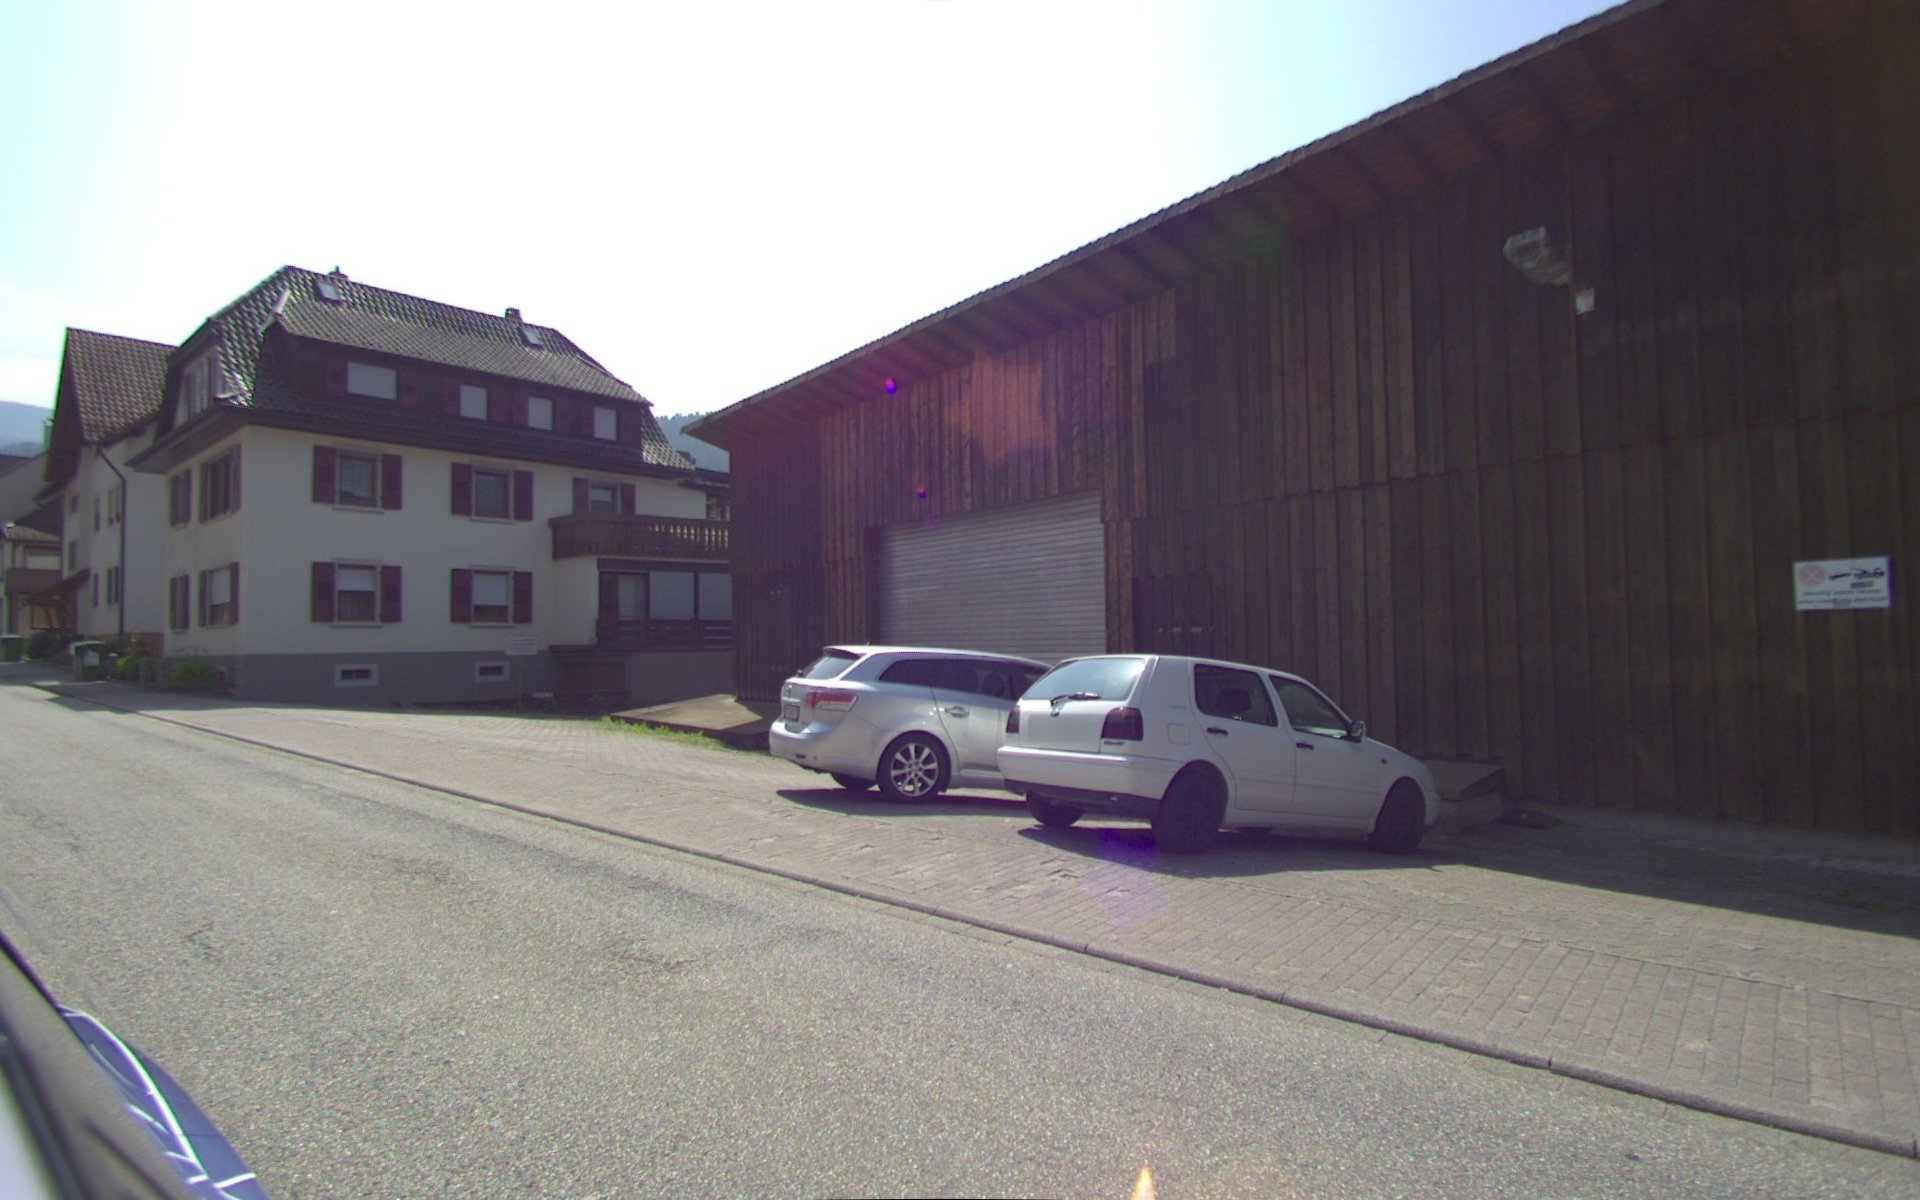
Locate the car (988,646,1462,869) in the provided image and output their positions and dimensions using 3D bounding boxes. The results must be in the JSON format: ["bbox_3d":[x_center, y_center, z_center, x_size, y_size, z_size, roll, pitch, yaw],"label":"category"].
[{"bbox_3d":[2.217,1.192,8.148,3.610,1.396,1.715,6,-5,-34],"label":"car"}]

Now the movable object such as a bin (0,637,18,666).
[{"bbox_3d":[-39.527,2.138,41.849,0.598,1.190,0.710,-2,-5,41],"label":"movable object such as a bin"}]

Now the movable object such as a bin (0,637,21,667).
[{"bbox_3d":[-39.024,2.130,41.435,0.598,1.190,0.710,-2,-5,41],"label":"movable object such as a bin"}]

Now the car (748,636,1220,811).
[{"bbox_3d":[0.257,1.259,10.354,4.367,1.486,1.930,5,-5,-24],"label":"car"}]

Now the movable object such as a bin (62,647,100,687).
[{"bbox_3d":[-24.590,1.860,28.316,0.653,1.075,0.669,-1,-3,39],"label":"movable object such as a bin"}]

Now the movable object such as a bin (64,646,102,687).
[{"bbox_3d":[-23.861,1.796,27.536,0.621,1.075,0.669,-1,-3,39],"label":"movable object such as a bin"}]

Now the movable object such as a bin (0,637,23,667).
[{"bbox_3d":[-38.527,2.123,41.005,0.598,1.190,0.710,-2,-5,41],"label":"movable object such as a bin"}]

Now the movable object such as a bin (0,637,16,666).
[{"bbox_3d":[-40.017,2.146,42.291,0.598,1.190,0.710,-2,-5,41],"label":"movable object such as a bin"}]
